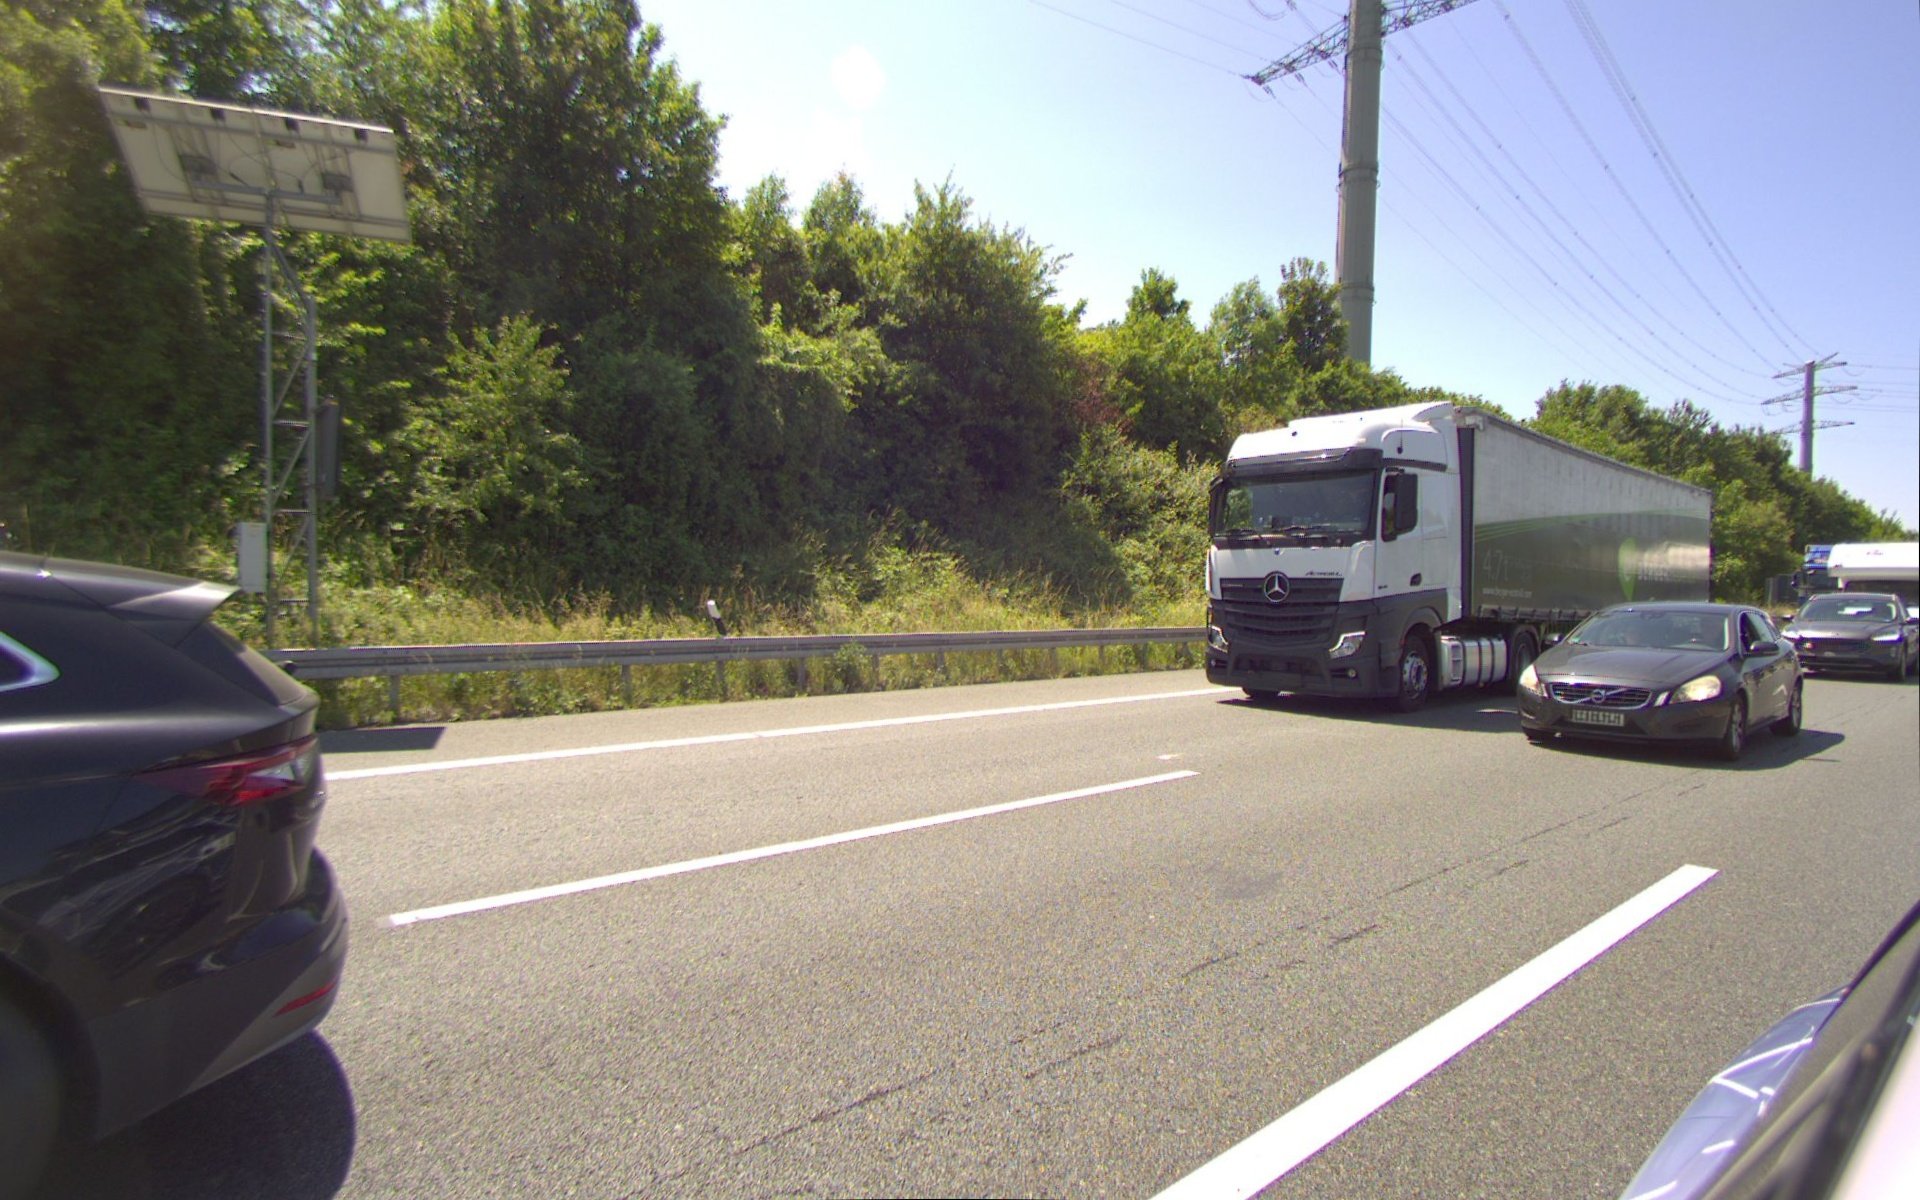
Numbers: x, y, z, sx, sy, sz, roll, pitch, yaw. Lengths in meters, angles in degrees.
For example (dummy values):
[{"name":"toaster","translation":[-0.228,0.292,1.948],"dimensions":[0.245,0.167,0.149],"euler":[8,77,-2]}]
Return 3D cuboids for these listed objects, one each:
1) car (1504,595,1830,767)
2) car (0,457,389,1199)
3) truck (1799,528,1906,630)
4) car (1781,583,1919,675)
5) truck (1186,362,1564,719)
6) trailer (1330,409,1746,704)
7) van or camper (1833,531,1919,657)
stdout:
[{"name":"car","translation":[7.590,0.673,10.690],"dimensions":[4.431,1.437,1.798],"euler":[-1,0,-41]},{"name":"car","translation":[-3.588,0.560,1.686],"dimensions":[4.353,1.676,1.703],"euler":[-1,0,-42]},{"name":"truck","translation":[39.339,-0.893,44.573],"dimensions":[5.537,4.197,2.790],"euler":[0,0,-41]},{"name":"car","translation":[17.885,0.495,20.002],"dimensions":[4.146,1.631,1.892],"euler":[-1,0,-41]},{"name":"truck","translation":[6.102,-0.711,14.510],"dimensions":[5.692,4.098,2.738],"euler":[0,0,-41]},{"name":"trailer","translation":[11.708,-0.662,19.363],"dimensions":[12.882,4.098,2.788],"euler":[-1,0,-41]},{"name":"van or camper","translation":[26.021,-0.185,27.521],"dimensions":[7.499,3.082,2.373],"euler":[-1,0,-41]}]
